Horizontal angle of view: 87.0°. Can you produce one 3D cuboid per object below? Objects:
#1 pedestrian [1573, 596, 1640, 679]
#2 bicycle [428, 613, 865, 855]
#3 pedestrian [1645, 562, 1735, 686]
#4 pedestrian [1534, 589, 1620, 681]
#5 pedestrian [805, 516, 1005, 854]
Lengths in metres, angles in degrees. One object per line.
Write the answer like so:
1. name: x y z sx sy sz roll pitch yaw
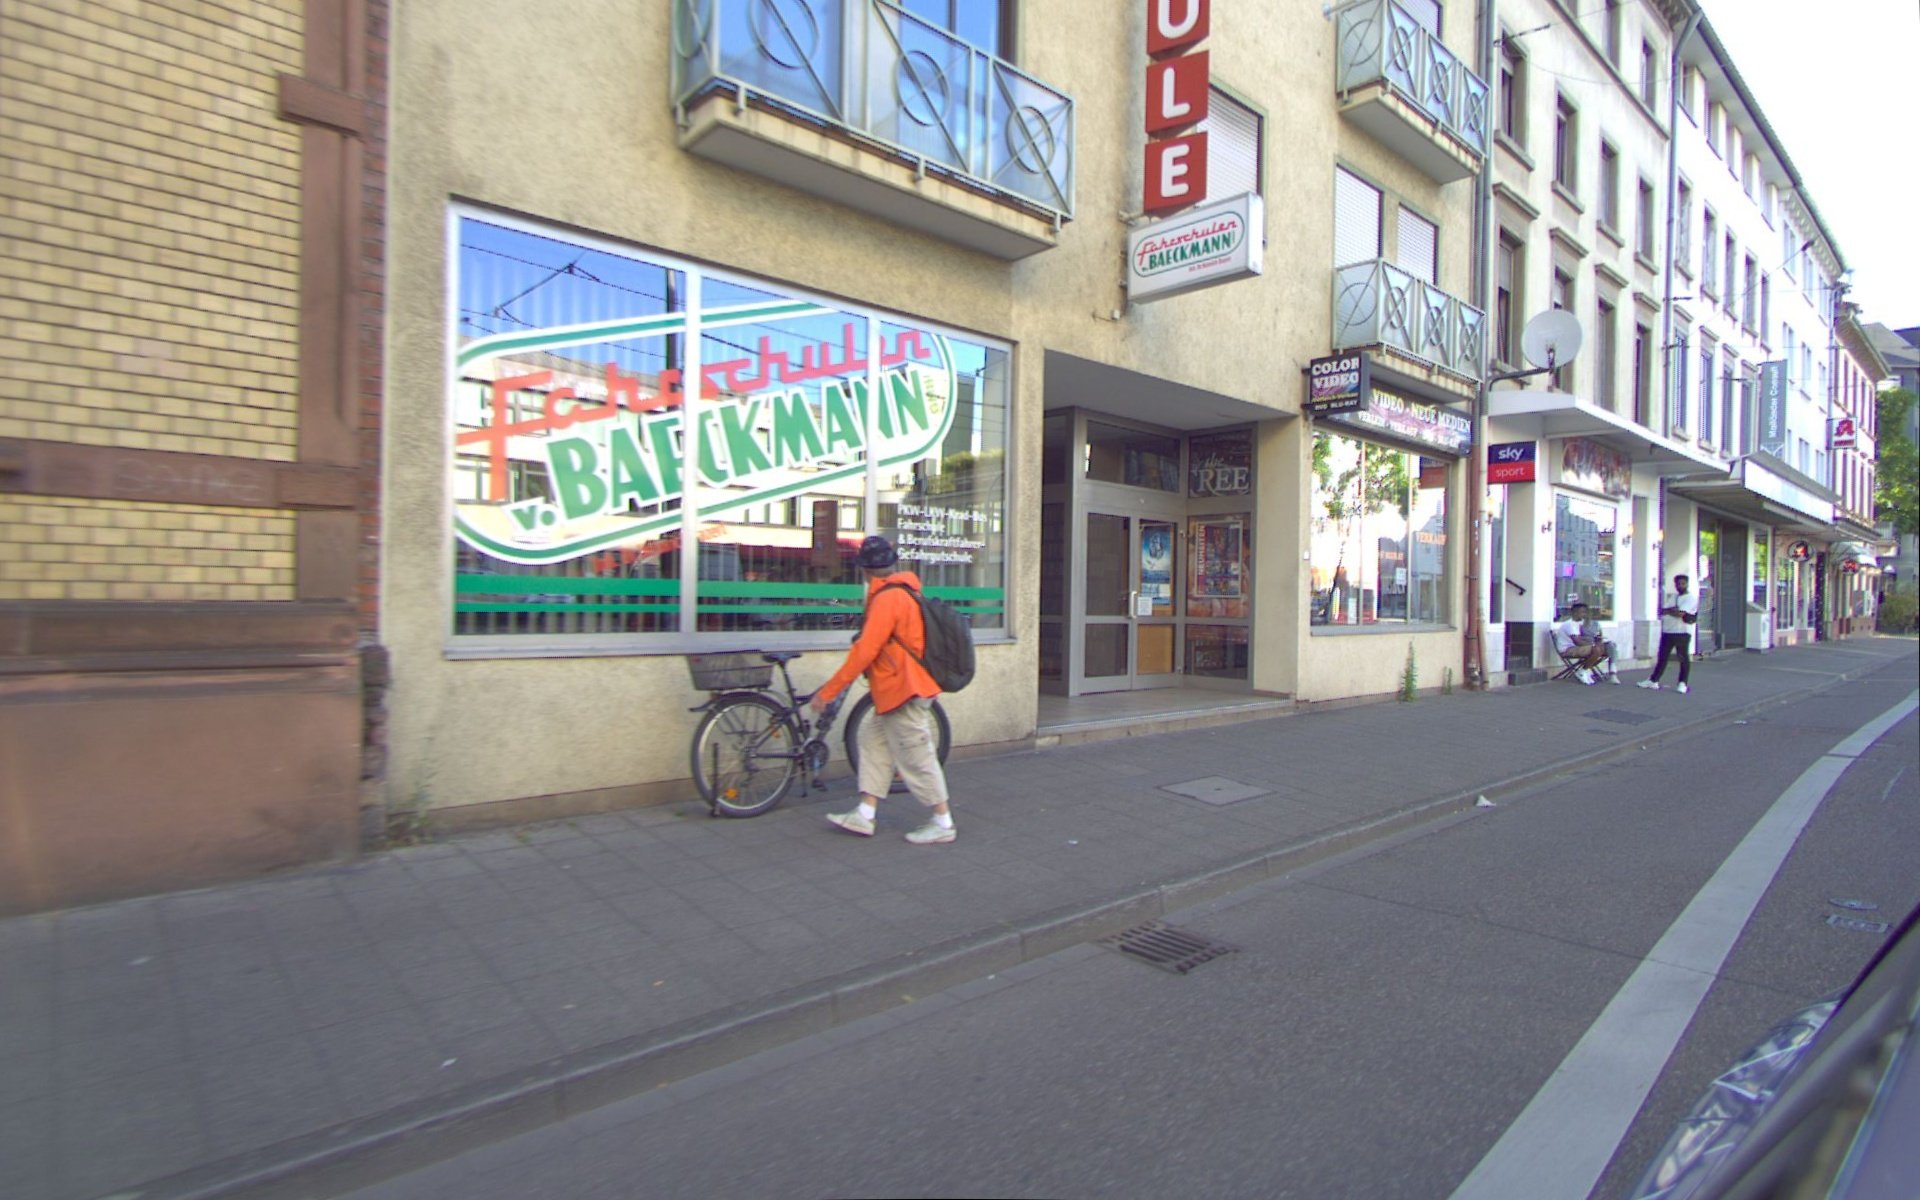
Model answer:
1. pedestrian: 10.430 0.577 16.353 0.701 1.188 1.006 8 5 28
2. bicycle: -1.628 0.630 5.631 2.271 1.074 0.556 1 3 -42
3. pedestrian: 11.417 0.373 15.832 0.665 1.833 0.709 3 5 -27
4. pedestrian: 9.518 0.519 15.646 0.819 1.270 0.704 6 4 13
5. pedestrian: -0.332 0.417 5.455 0.783 1.646 0.828 4 4 -15
